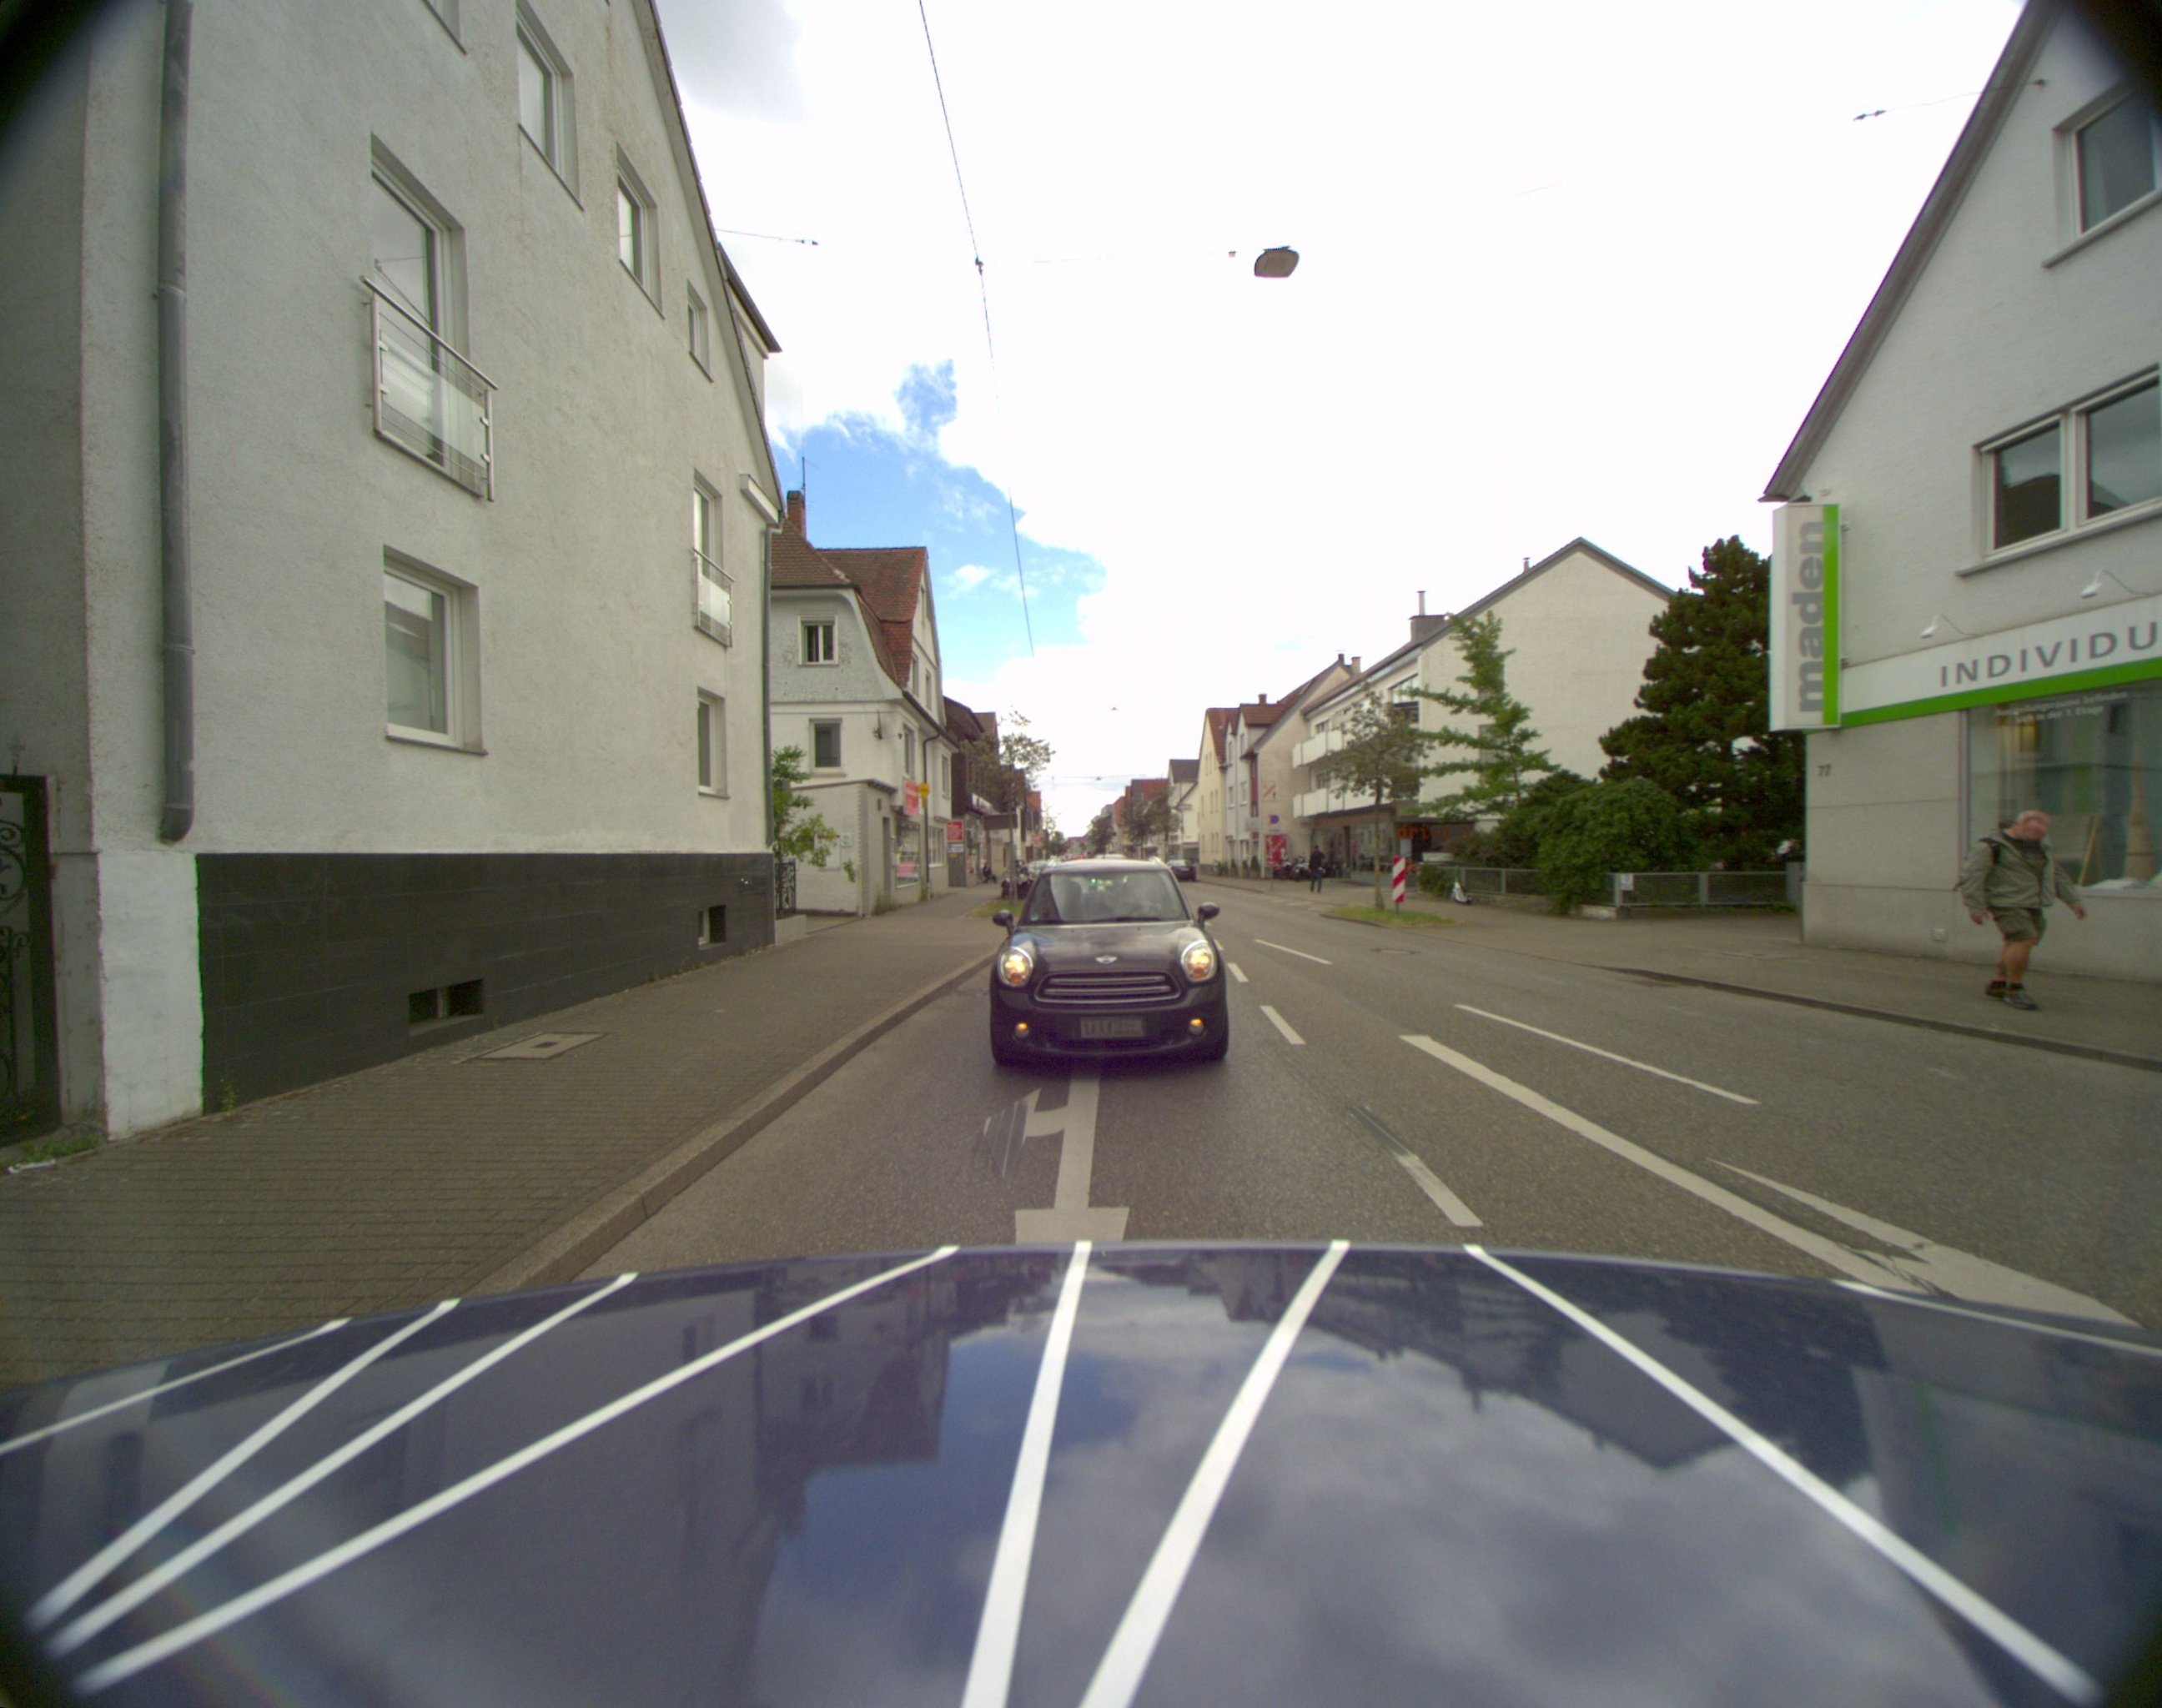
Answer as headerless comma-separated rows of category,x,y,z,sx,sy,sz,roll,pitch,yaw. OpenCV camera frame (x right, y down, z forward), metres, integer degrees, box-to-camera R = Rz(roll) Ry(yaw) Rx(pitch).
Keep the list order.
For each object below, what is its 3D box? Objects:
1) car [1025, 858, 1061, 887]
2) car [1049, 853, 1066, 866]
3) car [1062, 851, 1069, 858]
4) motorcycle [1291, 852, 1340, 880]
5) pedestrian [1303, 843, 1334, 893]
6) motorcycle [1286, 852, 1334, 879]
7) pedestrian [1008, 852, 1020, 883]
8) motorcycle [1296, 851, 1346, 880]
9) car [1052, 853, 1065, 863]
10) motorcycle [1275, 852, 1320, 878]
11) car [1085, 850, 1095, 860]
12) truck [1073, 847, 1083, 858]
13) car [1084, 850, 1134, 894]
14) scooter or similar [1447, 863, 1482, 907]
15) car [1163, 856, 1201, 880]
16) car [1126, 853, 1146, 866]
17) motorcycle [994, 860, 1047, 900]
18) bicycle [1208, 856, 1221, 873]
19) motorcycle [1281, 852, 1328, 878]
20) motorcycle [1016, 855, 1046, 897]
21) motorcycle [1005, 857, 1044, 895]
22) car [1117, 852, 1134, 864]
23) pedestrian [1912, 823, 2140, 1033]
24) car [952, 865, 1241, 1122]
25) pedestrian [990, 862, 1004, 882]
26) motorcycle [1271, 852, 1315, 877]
car,-2.013,0.956,41.584,1.830,1.400,4.564,-2,0,-1
car,-2.537,0.556,83.702,1.794,1.356,3.948,1,0,0
car,-4.562,0.157,227.932,2.059,2.002,4.186,-2,0,-1
motorcycle,11.975,0.594,38.794,2.231,1.258,0.613,-4,1,-2
pedestrian,9.173,0.536,29.366,0.753,1.838,1.019,-5,1,0
motorcycle,11.924,0.591,39.590,2.231,1.258,0.613,-4,1,-2
pedestrian,-3.727,0.738,42.238,0.644,1.730,0.742,0,1,-6
motorcycle,12.005,0.567,38.004,2.231,1.258,0.613,-4,1,-2
car,-3.397,0.555,113.390,1.794,1.397,3.948,1,0,0
motorcycle,11.753,0.580,41.256,2.231,1.258,0.613,-4,1,-2
car,1.756,0.207,148.872,1.855,1.932,4.490,0,0,-2
truck,-0.926,-0.439,217.363,2.800,3.020,8.250,-2,0,0
car,1.082,0.673,31.478,1.855,1.615,4.736,-2,0,0
scooter or similar,10.347,0.820,20.517,0.340,1.105,1.180,-2,1,0
car,6.444,0.863,48.967,1.792,1.409,4.340,0,0,-1
car,6.111,0.589,84.568,1.716,1.389,3.899,-2,0,-2
motorcycle,-2.211,0.928,27.399,0.777,1.373,2.237,-2,1,-37
bicycle,9.393,0.735,53.557,0.515,1.189,2.023,-2,0,-1
motorcycle,11.891,0.573,40.433,2.231,1.258,0.699,-4,1,-2
motorcycle,-1.940,0.831,29.710,0.672,1.516,2.599,-2,0,6
motorcycle,-2.273,0.887,31.009,0.648,1.432,2.472,-2,1,19
car,5.595,0.471,95.240,1.716,1.389,3.899,-2,0,-2
pedestrian,8.554,0.624,6.936,0.753,1.733,1.019,-3,1,0
car,0.022,0.947,7.355,1.855,1.527,4.735,-2,0,-2
pedestrian,-4.969,1.055,44.907,0.742,1.204,0.644,0,1,-1
motorcycle,11.725,0.579,42.029,2.231,1.258,0.613,-4,1,-2
